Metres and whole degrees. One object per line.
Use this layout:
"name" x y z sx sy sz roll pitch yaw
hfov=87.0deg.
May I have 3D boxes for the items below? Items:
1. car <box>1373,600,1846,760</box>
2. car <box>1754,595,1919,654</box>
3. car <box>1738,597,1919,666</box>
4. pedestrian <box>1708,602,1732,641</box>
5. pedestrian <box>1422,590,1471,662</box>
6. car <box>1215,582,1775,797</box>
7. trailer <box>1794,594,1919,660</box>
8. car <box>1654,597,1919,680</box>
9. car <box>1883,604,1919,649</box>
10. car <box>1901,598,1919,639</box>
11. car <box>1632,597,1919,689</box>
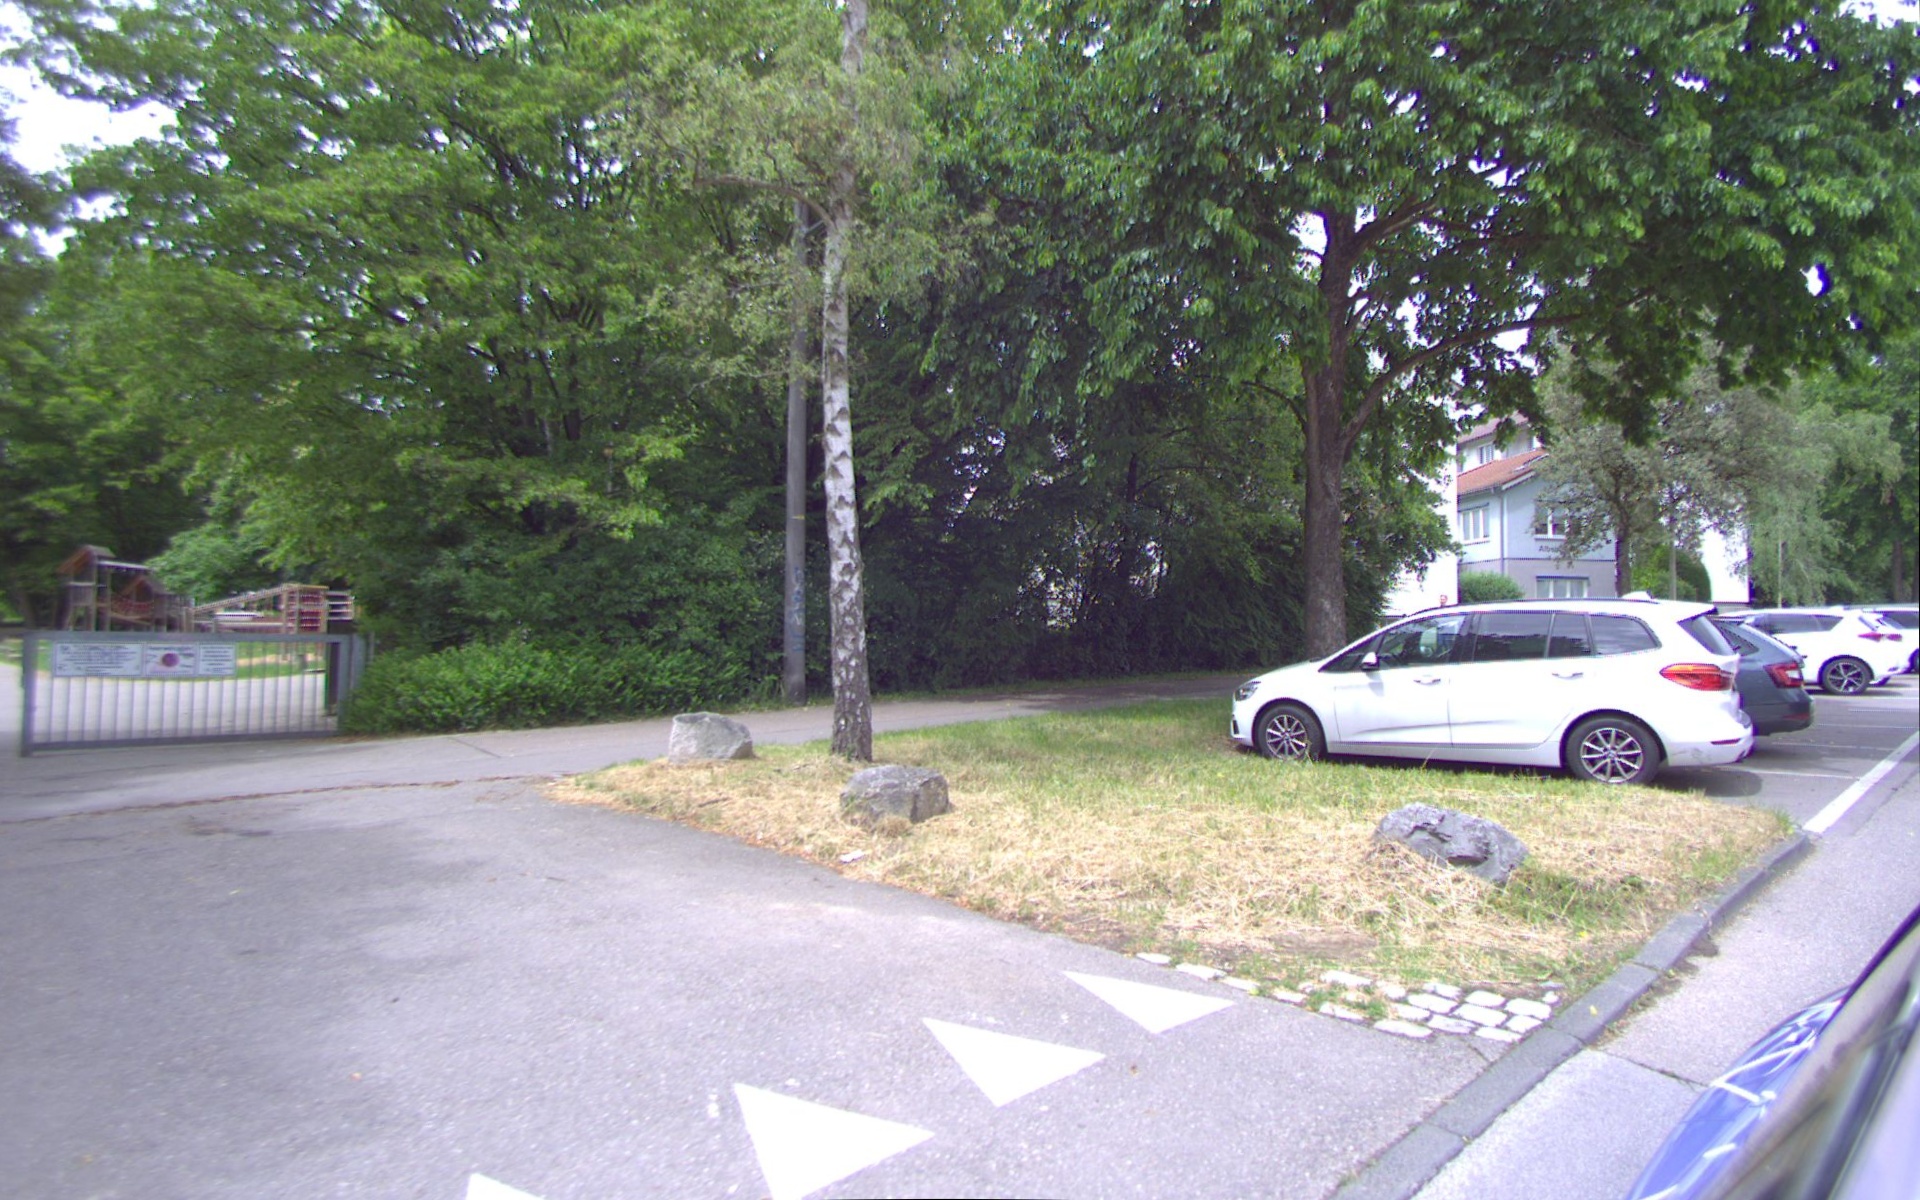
"car" 7.003 0.796 11.321 4.117 1.483 1.776 -2 -1 34
"car" 23.848 0.659 26.941 3.963 1.483 1.773 -2 -1 29
"car" 20.550 0.715 23.186 3.958 1.483 1.834 -2 -1 26
"pedestrian" 30.293 0.863 40.343 0.689 1.523 0.769 -1 -1 33
"pedestrian" 11.498 0.601 23.949 0.762 1.665 0.695 0 -1 -18
"car" 4.947 0.715 9.761 4.462 1.605 1.879 -2 -1 41
"trailer" 23.047 0.639 24.721 3.973 1.572 1.638 0 -1 35
"car" 16.141 0.737 19.962 3.971 1.483 1.774 -2 -1 34
"car" 33.011 0.832 33.102 3.820 1.452 1.699 -2 0 29
"car" 36.688 0.631 36.678 3.487 1.483 1.696 -2 -1 33
"car" 14.453 0.735 18.105 3.971 1.483 1.844 -2 -1 34
